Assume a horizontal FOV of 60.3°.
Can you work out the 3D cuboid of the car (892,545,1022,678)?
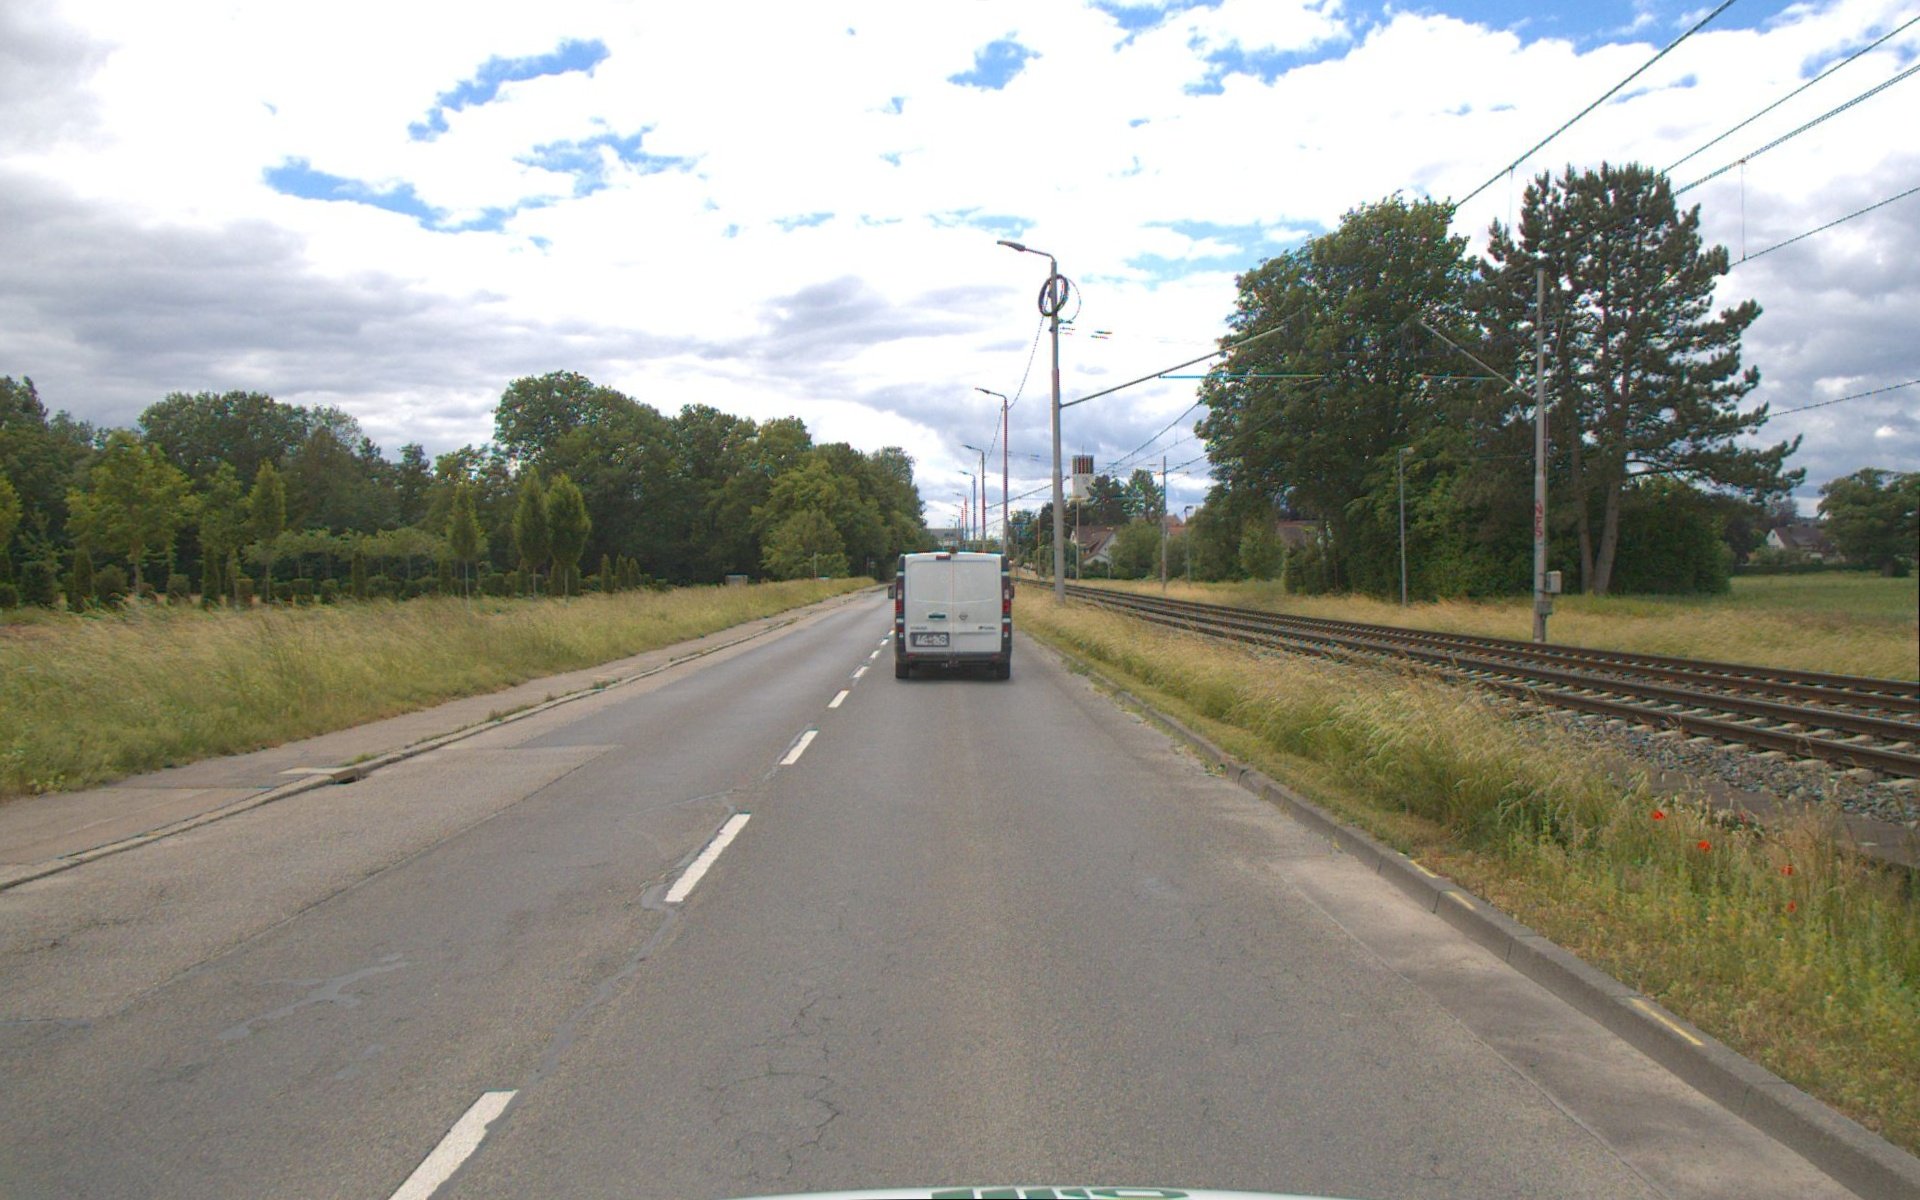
[{"bbox_3d":[-0.100,0.150,26.908,1.953,1.991,3.999,0,1,-2],"label":"car"}]
